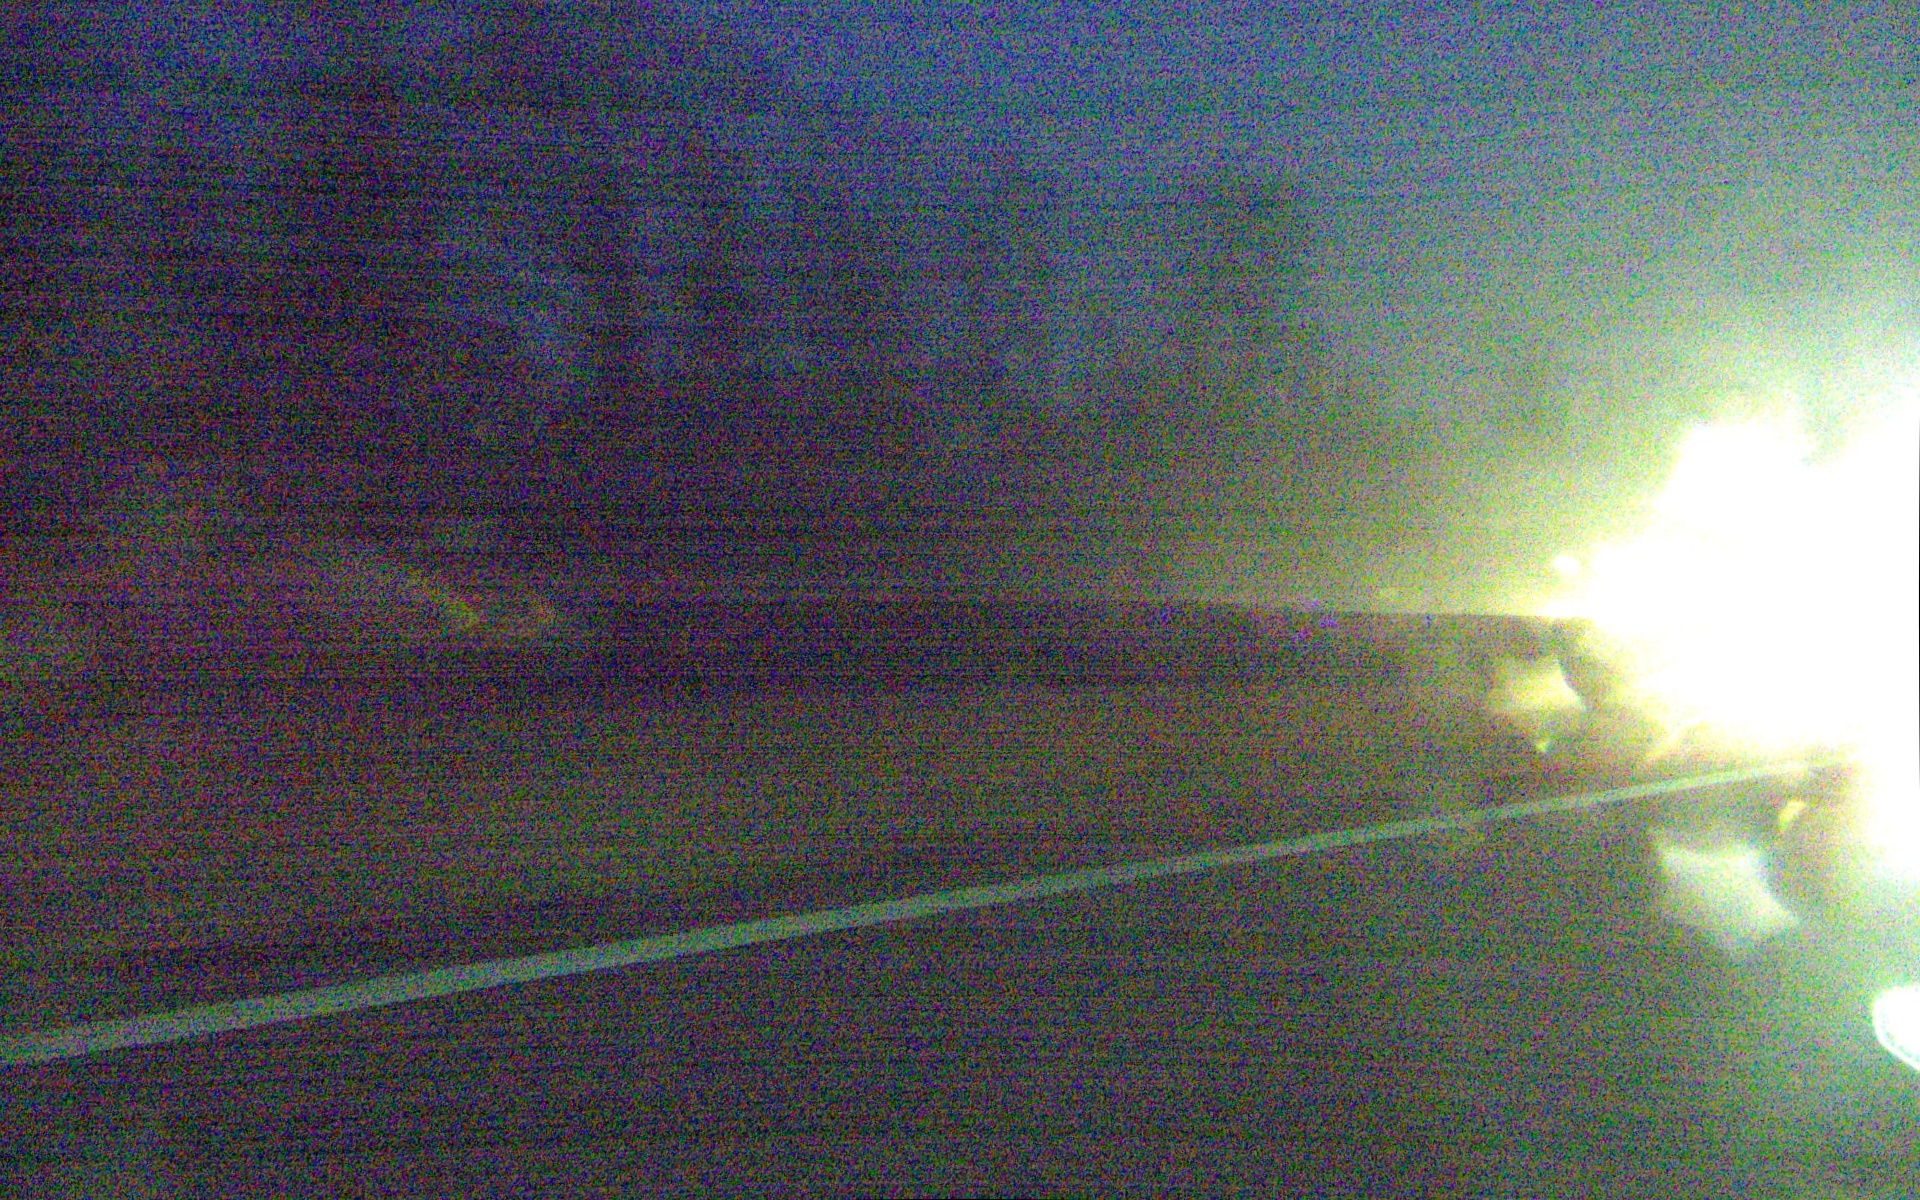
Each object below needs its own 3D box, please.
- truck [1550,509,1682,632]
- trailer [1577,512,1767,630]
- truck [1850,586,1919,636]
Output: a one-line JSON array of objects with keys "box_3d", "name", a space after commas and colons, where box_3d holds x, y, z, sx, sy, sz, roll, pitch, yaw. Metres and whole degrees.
[{"box_3d": [29.461, -1.346, 45.068, 5.824, 5.167, 2.733, -1, 5, -36], "name": "truck"}, {"box_3d": [35.234, -1.435, 49.299, 14.789, 5.161, 2.752, -1, 5, -36], "name": "trailer"}, {"box_3d": [55.449, 0.645, 59.763, 6.060, 2.708, 2.270, 1, 4, -35], "name": "truck"}]
